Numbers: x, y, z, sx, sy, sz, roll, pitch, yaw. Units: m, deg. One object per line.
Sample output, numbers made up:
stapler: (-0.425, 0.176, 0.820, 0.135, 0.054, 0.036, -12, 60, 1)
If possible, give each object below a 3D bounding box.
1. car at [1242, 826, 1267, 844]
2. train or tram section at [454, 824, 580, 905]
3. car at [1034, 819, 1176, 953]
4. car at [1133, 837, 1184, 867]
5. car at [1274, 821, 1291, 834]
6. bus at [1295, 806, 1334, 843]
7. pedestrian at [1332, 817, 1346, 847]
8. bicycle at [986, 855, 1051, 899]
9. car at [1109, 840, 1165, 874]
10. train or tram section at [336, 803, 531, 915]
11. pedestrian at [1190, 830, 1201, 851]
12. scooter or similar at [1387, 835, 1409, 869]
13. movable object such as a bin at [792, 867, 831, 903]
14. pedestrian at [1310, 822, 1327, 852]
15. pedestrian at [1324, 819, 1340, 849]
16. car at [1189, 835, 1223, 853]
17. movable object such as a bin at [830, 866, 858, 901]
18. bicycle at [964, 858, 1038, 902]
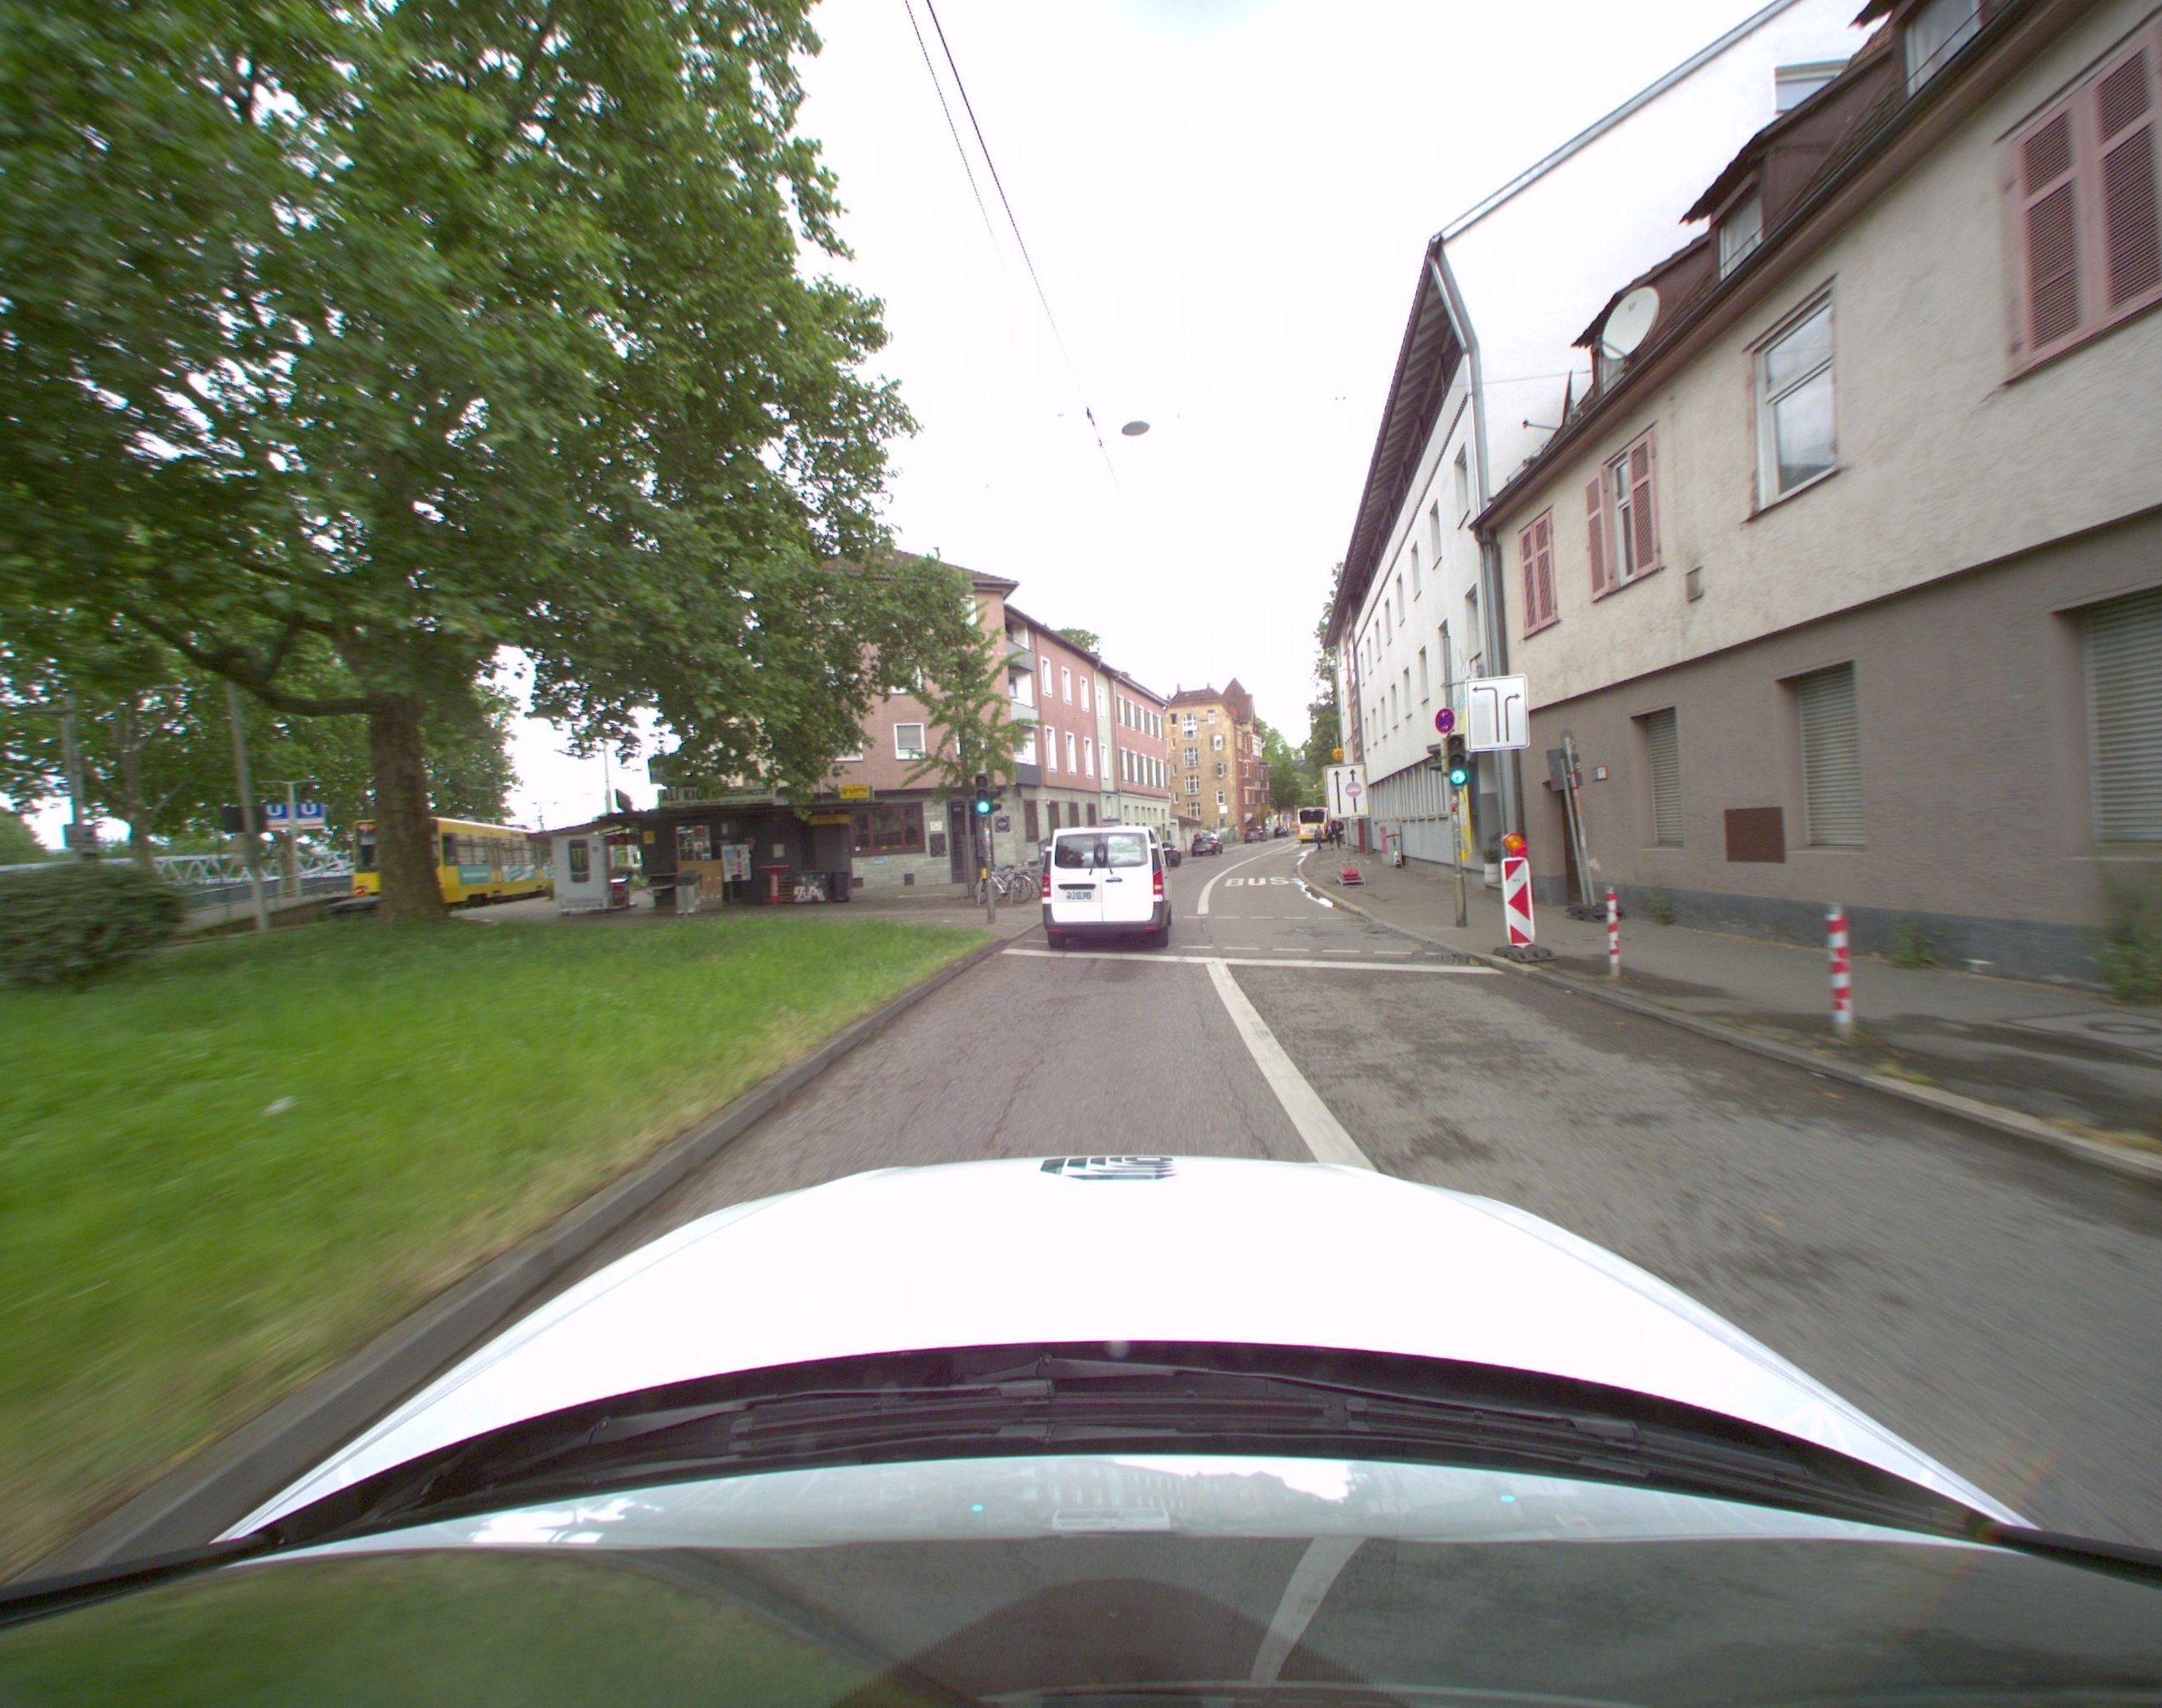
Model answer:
car: (18.729, -2.061, 87.769, 1.937, 1.733, 4.799, -3, 2, 20)
train or tram section: (-28.975, 0.602, 42.485, 2.926, 3.672, 10.925, 0, -2, -21)
car: (0.609, 0.438, 14.001, 1.906, 1.901, 4.712, -1, 0, 8)
car: (4.503, -0.145, 46.494, 1.814, 1.454, 4.944, -3, 1, 18)
car: (27.945, -3.640, 112.919, 1.710, 1.485, 4.415, -2, 3, 21)
bus: (21.666, -2.798, 75.194, 2.640, 3.135, 10.093, -1, 2, 20)
pedestrian: (15.339, -1.313, 48.459, 0.537, 1.756, 0.612, -5, 2, 27)
bicycle: (-1.765, 0.639, 23.037, 1.798, 1.176, 0.723, -1, 0, -5)
car: (2.918, 0.106, 41.332, 1.815, 1.454, 4.604, -3, 1, 16)
train or tram section: (-25.005, 0.309, 32.312, 2.926, 3.672, 10.925, 0, -2, -21)
pedestrian: (9.574, -1.133, 68.093, 0.755, 1.744, 0.989, -1, 1, 17)
scooter or similar: (11.007, -0.098, 28.277, 0.425, 1.097, 1.444, -5, 1, 13)
movable object such as a bin: (-7.823, 0.883, 23.605, 0.969, 0.964, 1.104, 0, 1, -24)
pedestrian: (14.633, -1.058, 50.148, 0.797, 1.793, 0.946, -6, 2, 14)
pedestrian: (15.260, -1.235, 49.504, 0.682, 1.756, 0.882, -6, 2, 14)
car: (9.538, -0.736, 61.844, 1.978, 1.290, 4.018, -1, 0, 17)
movable object such as a bin: (-6.988, 0.847, 23.986, 0.674, 0.964, 1.071, 0, 1, -24)
bicycle: (-2.136, 0.695, 21.788, 1.855, 1.113, 0.580, -1, 1, 16)
